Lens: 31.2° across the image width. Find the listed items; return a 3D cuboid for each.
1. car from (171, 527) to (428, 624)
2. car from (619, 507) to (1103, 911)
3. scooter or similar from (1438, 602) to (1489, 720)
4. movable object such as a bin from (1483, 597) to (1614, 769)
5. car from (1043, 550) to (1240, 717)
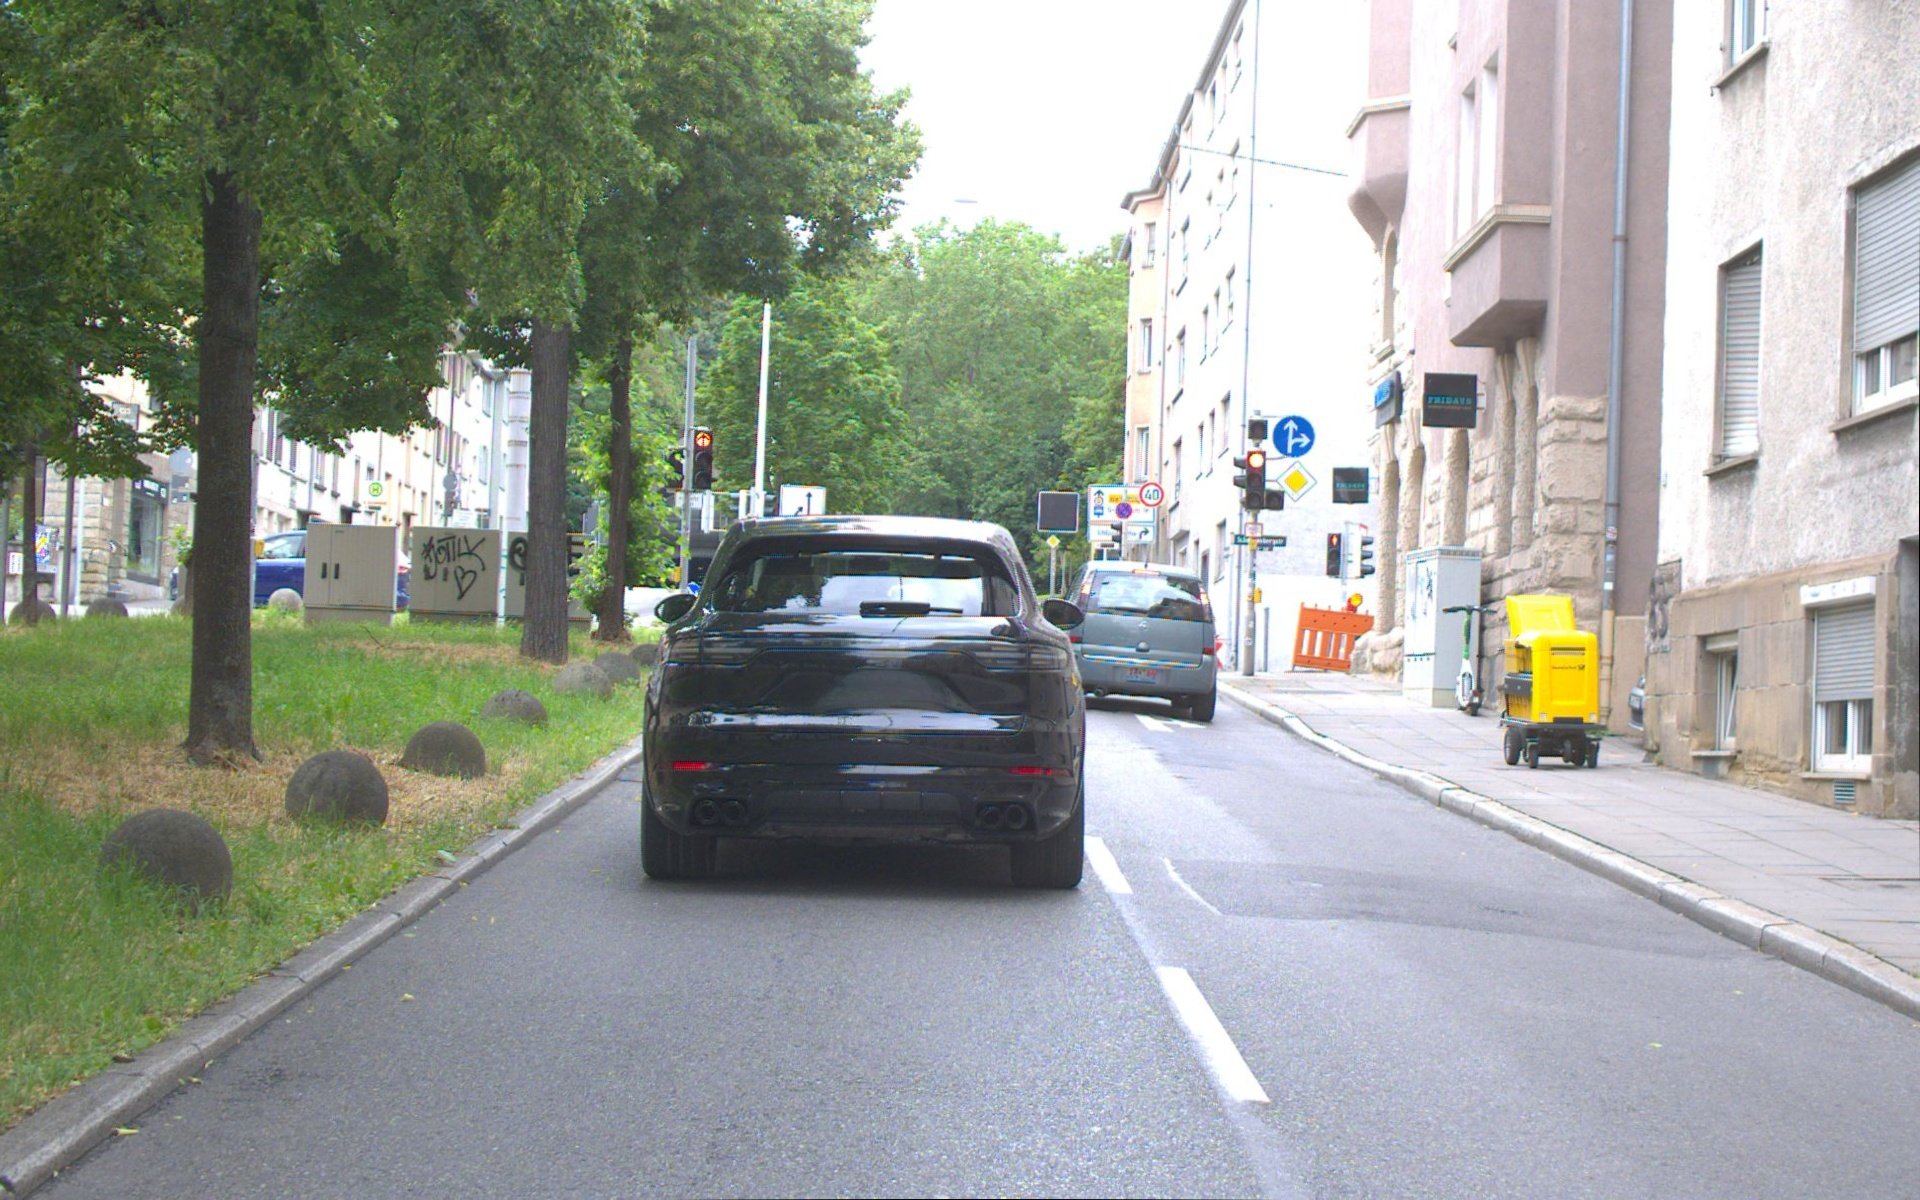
[{"bbox_3d":[-11.757,-0.441,61.390,4.204,1.505,1.800,3,1,-2],"label":"car"},{"bbox_3d":[-0.410,0.424,16.475,1.994,1.647,4.000,2,1,0],"label":"car"},{"bbox_3d":[5.409,0.643,36.966,0.401,1.184,1.354,1,2,3],"label":"scooter or similar"},{"bbox_3d":[5.019,0.696,29.408,0.719,1.416,1.693,1,0,-3],"label":"movable object such as a bin"},{"bbox_3d":[1.918,0.327,37.312,1.752,1.588,3.631,5,1,-1],"label":"car"}]
